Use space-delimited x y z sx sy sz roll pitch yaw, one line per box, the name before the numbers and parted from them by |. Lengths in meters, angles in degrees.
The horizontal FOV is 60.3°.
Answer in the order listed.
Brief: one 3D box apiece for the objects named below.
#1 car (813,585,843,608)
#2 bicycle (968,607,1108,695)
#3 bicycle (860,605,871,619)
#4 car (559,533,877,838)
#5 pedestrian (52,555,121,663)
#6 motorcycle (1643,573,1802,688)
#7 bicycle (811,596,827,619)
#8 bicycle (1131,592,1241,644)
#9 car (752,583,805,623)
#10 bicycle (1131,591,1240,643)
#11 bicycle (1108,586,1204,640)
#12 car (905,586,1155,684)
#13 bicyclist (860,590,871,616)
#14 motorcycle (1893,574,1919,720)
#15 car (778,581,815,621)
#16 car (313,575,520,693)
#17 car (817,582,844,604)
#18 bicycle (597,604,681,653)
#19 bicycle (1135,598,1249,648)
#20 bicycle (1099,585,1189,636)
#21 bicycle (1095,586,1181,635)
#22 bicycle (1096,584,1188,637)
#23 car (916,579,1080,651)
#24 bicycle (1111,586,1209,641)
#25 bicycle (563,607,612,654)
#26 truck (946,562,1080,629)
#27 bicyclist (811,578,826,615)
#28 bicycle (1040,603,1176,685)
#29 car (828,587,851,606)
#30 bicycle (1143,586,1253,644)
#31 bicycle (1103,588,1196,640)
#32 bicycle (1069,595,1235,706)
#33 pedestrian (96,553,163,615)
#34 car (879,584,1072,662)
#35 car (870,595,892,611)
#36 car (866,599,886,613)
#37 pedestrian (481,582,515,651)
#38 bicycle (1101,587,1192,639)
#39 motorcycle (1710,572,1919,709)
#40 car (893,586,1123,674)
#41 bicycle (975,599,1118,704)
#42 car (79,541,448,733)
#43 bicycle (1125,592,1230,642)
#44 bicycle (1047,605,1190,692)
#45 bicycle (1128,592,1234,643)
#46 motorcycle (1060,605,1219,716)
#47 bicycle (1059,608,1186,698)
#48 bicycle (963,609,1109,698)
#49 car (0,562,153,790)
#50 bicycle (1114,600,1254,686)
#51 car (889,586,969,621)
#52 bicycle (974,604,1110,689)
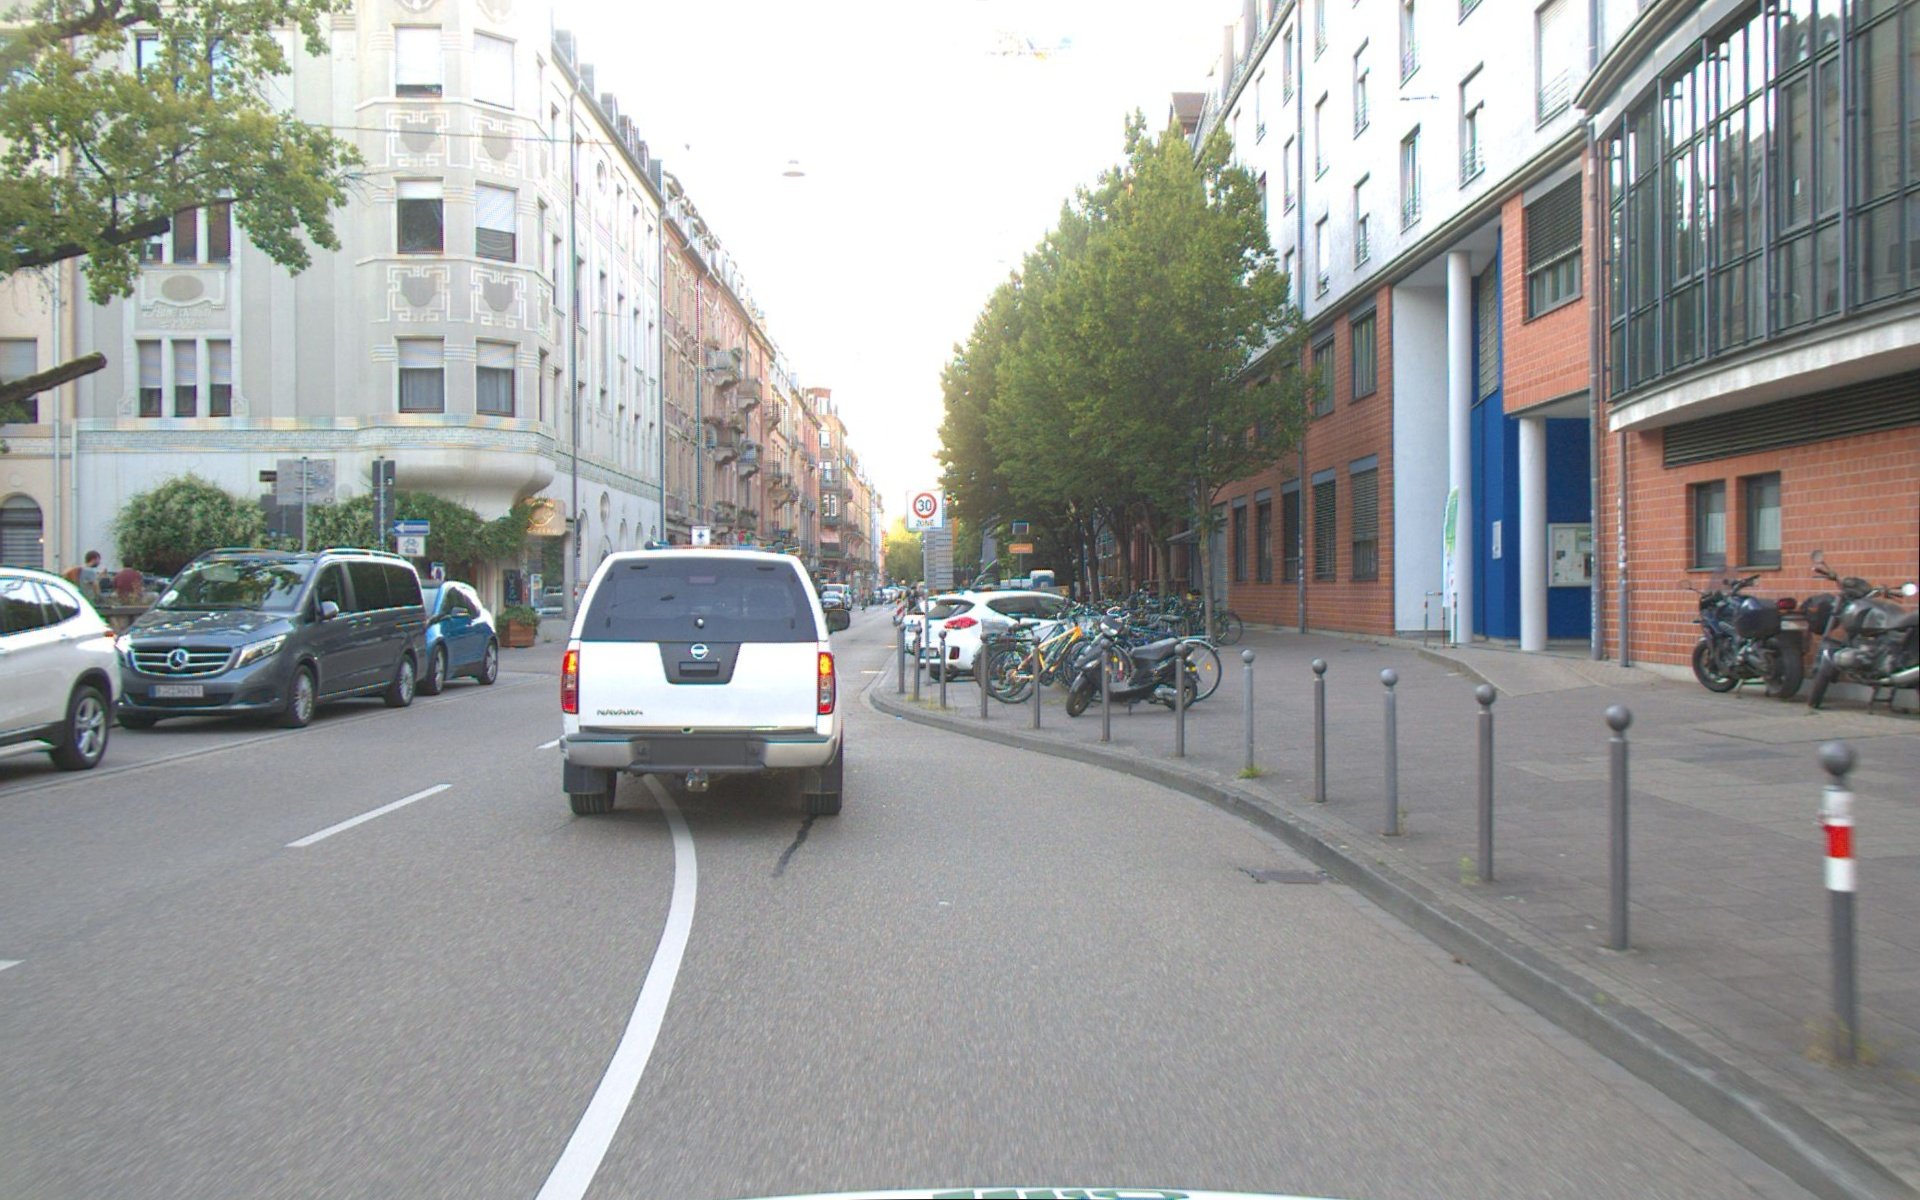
car | -9.048 -0.245 113.232 1.755 1.557 4.000 0 0 0
bicycle | 1.046 0.682 22.348 1.820 1.084 0.445 -2 0 -3
bicycle | -6.786 0.832 118.482 0.784 0.963 2.003 0 0 -3
car | -1.704 0.510 12.304 1.896 1.826 4.615 0 0 -6
pedestrian | -14.413 0.141 27.298 0.692 1.751 0.836 -1 0 -3
motorcycle | 8.141 0.305 17.769 0.576 1.122 2.082 -3 0 -4
bicycle | -6.650 0.360 77.889 0.602 1.058 1.903 -1 0 -1
bicycle | 5.241 0.414 38.412 2.482 1.187 0.562 -1 0 1
car | -7.977 0.114 73.077 1.953 1.681 3.999 0 0 -1
bicycle | 5.314 0.403 39.042 2.482 1.187 0.562 -1 0 1
bicycle | 5.191 0.339 43.982 2.482 1.403 0.599 -1 0 1
car | 1.204 0.553 28.115 3.946 1.533 1.752 -1 0 -31
bicyclist | -6.794 0.203 118.513 0.784 1.882 0.943 0 0 -3
motorcycle | 8.061 0.368 12.295 0.783 1.159 2.439 -3 0 -1
car | -8.284 0.056 84.092 1.528 1.955 3.855 2 0 -1
car | -7.805 0.441 24.133 1.606 1.583 4.005 0 0 1
car | -9.395 -0.520 120.116 1.675 1.557 3.999 0 0 -1
bicycle | -7.772 0.684 40.014 2.067 1.114 0.501 1 1 24
bicycle | 5.280 0.515 37.759 2.482 0.976 0.680 -4 0 1
bicycle | 5.208 0.304 46.867 2.482 1.403 0.599 -1 0 1
bicycle | 5.261 0.304 48.921 2.482 1.403 0.599 -1 0 1
bicycle | 5.215 0.304 47.577 2.483 1.266 0.599 -6 0 1
car | 0.912 0.324 38.855 3.562 1.608 1.696 -1 0 -34
bicycle | 5.226 0.340 43.268 2.482 1.403 0.599 -1 0 1
bicycle | -8.730 0.705 38.836 0.414 1.030 1.720 0 1 13
truck | 2.478 -0.185 77.685 6.190 3.029 2.264 0 -3 0
bicyclist | -6.657 -0.156 77.866 0.590 1.714 1.142 -1 0 -1
bicycle | 2.128 0.622 23.888 1.873 1.084 0.524 -2 0 -3
car | -9.960 -0.286 136.826 1.810 1.579 4.352 0 0 -3
bicycle | 5.243 0.324 36.551 2.298 1.118 0.680 -4 0 1
bicycle | 5.189 0.372 45.448 2.482 1.403 0.599 -1 0 1
bicycle | 2.265 0.585 19.596 1.821 1.166 0.659 -4 0 -2
pedestrian | -13.706 -0.267 27.325 0.692 0.997 0.836 -1 0 -3
car | 0.358 0.456 35.891 3.948 1.564 1.618 -1 1 -32
car | -7.915 0.322 166.219 1.808 1.579 4.356 0 0 2
car | -9.203 0.648 181.605 1.808 1.579 4.357 0 0 2
pedestrian | -11.458 0.408 41.045 0.601 1.704 0.568 0 0 21
bicycle | 5.192 0.355 46.146 2.482 1.403 0.599 -1 0 1
motorcycle | 8.121 0.341 15.356 0.762 1.159 2.407 -2 0 -14
car | 0.924 0.536 30.812 3.952 1.499 1.853 -1 -1 -34
bicycle | 1.054 0.625 20.303 1.673 1.196 0.471 -2 0 -3
car | -7.713 0.349 19.004 1.952 1.899 5.290 0 0 0
bicycle | 5.296 0.400 40.264 2.482 1.187 0.562 -1 0 1
bicycle | 2.100 0.640 21.953 1.820 1.056 0.402 -2 0 -3
bicycle | 5.290 0.407 39.653 2.482 1.187 0.562 -1 0 1
motorcycle | 1.995 0.660 18.434 1.614 1.121 0.646 -3 0 -10
bicycle | 2.047 0.657 20.891 1.509 1.056 0.471 -2 0 -3
bicycle | 0.971 0.680 21.364 1.820 1.056 0.471 -2 0 -3
car | -7.741 0.547 11.882 1.833 1.619 4.466 -1 0 -2
bicycle | 3.071 0.580 22.745 1.820 1.084 0.524 -2 0 -3
car | -1.654 0.192 88.378 4.107 1.811 1.821 0 0 5
bicycle | 1.138 0.639 23.019 1.820 1.084 0.445 -2 0 -3
